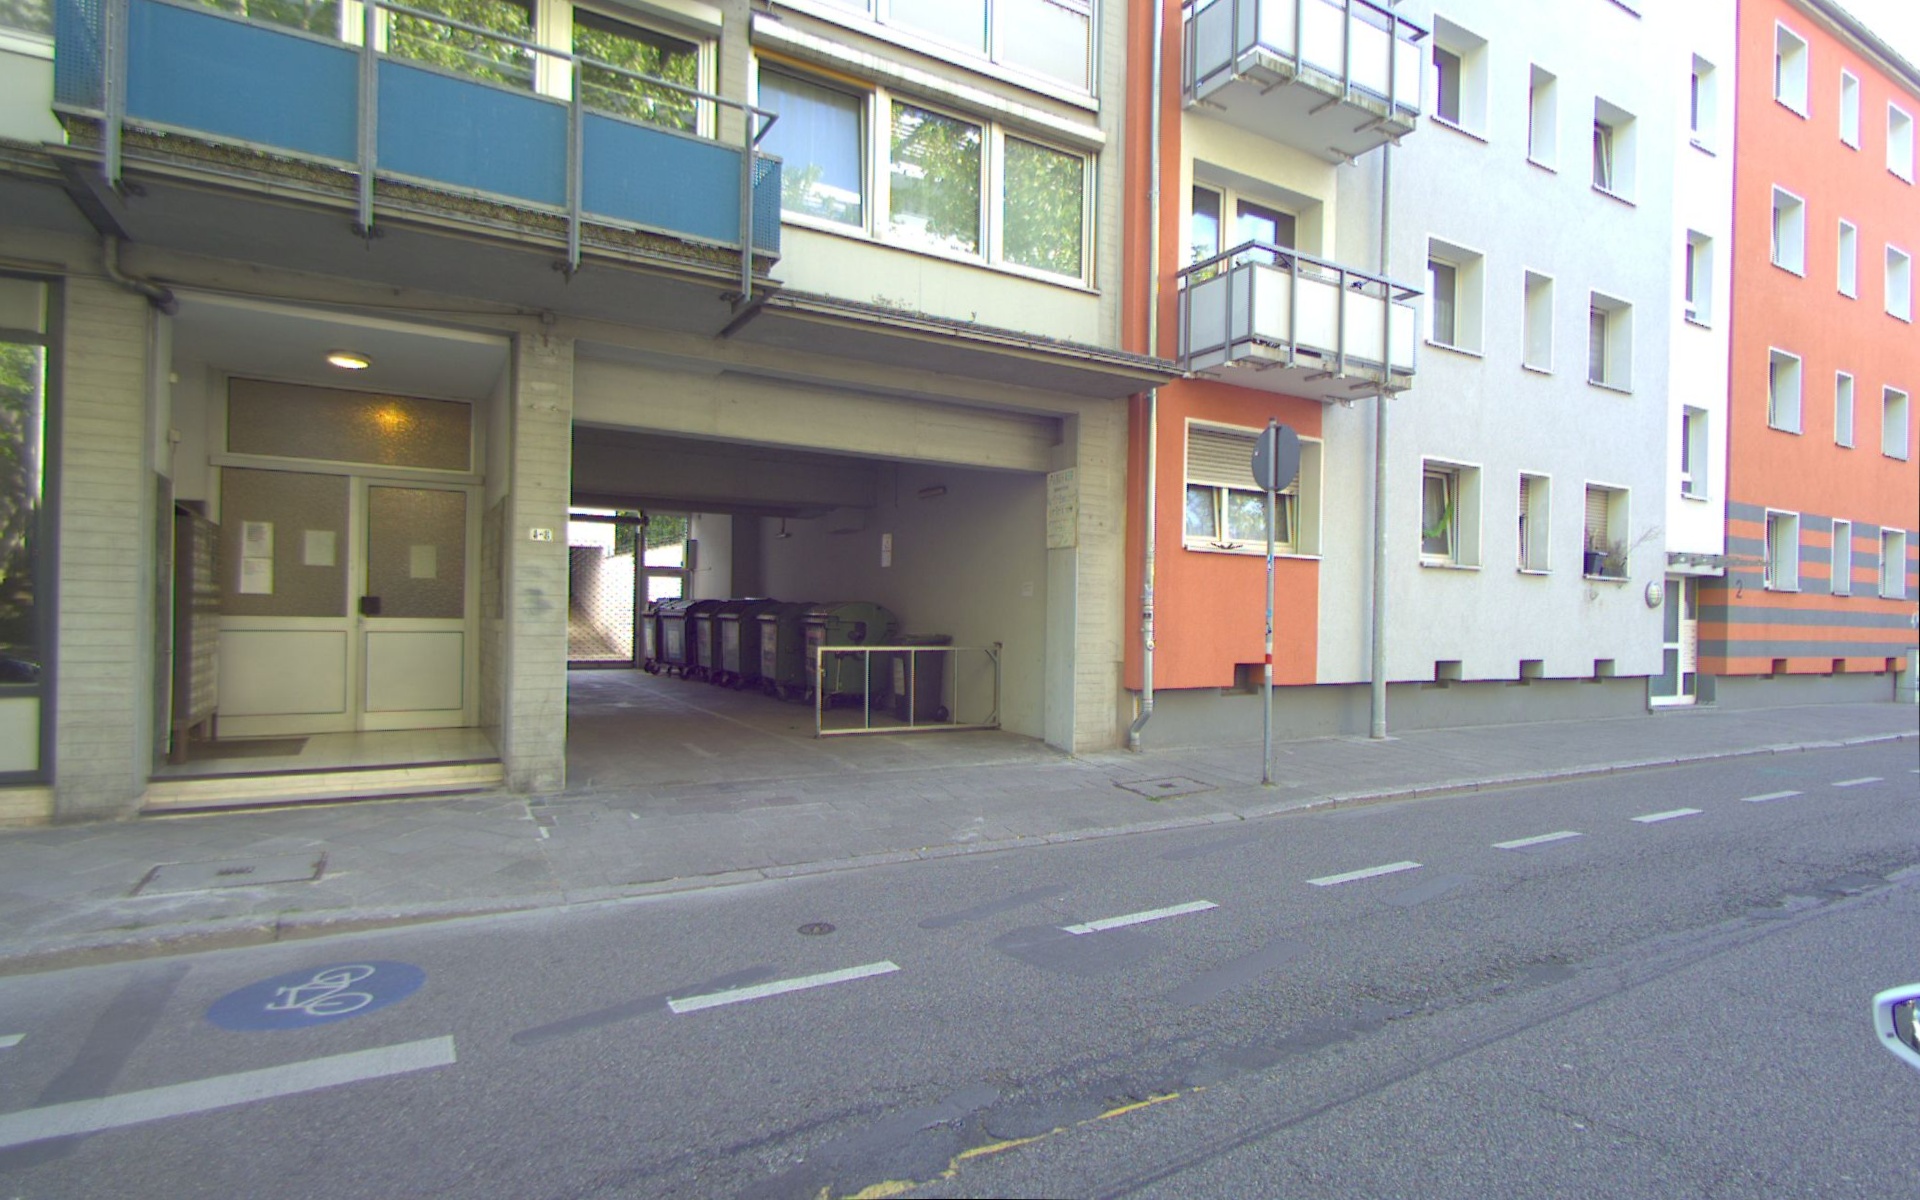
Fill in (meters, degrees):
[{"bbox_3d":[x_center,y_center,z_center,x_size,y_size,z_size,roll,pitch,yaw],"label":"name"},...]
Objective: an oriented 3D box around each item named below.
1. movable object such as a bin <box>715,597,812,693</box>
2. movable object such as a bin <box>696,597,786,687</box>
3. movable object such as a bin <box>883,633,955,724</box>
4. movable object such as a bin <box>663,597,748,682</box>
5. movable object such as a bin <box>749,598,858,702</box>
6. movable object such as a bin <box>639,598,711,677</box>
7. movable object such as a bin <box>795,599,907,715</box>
[{"bbox_3d":[-3.279,0.727,16.705,1.264,1.506,1.155,2,0,-28],"label":"movable object such as a bin"},{"bbox_3d":[-3.882,0.728,17.753,1.264,1.515,1.155,2,0,-28],"label":"movable object such as a bin"},{"bbox_3d":[-0.517,0.960,12.463,0.694,1.061,0.567,2,0,-28],"label":"movable object such as a bin"},{"bbox_3d":[-4.747,0.721,18.696,1.264,1.506,1.155,2,0,-28],"label":"movable object such as a bin"},{"bbox_3d":[-2.382,0.735,15.168,1.264,1.493,1.265,2,-1,-28],"label":"movable object such as a bin"},{"bbox_3d":[-5.666,0.731,19.951,1.128,1.484,1.129,2,0,-28],"label":"movable object such as a bin"},{"bbox_3d":[-1.516,0.755,13.815,1.128,1.484,1.255,2,0,-28],"label":"movable object such as a bin"}]
